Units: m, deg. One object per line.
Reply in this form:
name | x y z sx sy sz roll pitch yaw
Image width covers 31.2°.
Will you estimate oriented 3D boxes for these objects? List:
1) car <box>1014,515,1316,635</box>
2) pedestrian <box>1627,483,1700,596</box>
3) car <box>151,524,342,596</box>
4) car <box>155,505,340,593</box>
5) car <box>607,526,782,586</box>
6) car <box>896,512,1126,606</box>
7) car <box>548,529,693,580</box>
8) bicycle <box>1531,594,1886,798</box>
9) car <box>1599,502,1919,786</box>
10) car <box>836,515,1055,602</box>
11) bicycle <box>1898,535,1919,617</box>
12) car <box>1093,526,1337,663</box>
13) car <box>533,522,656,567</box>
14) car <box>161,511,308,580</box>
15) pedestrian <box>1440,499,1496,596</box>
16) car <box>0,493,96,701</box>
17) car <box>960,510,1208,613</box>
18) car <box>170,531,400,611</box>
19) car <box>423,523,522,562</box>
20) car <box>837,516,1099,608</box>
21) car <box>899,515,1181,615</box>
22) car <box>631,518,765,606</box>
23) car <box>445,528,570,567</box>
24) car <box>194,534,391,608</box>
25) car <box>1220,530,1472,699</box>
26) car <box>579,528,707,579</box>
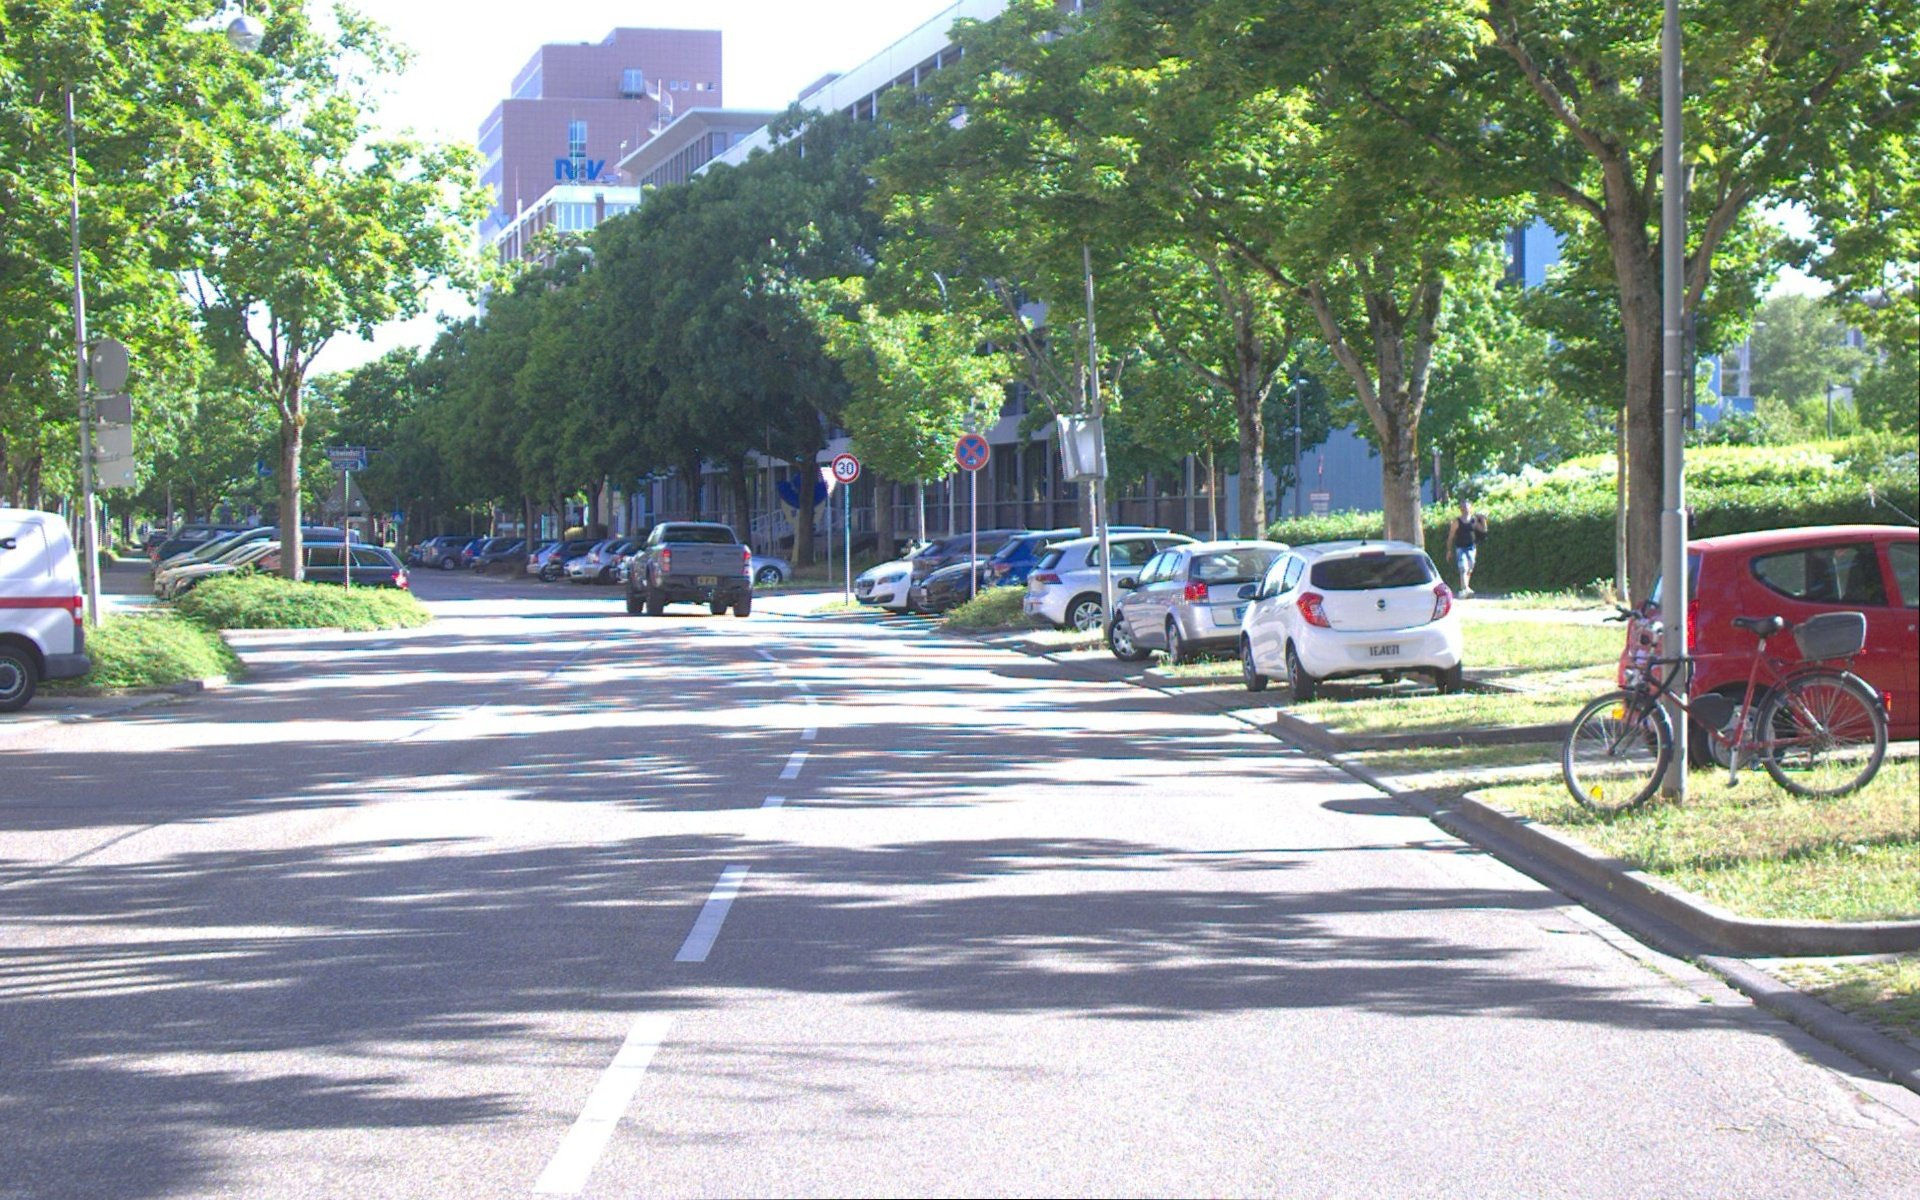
car | 2.970 -0.376 50.161 4.088 1.424 1.643 -4 1 -6
pedestrian | 9.974 -0.860 48.773 0.723 1.582 0.853 -1 1 -11
car | -15.133 -0.849 72.849 3.890 1.419 1.740 1 1 -13
car | -15.566 -1.119 75.071 3.890 1.805 1.786 1 1 -13
car | -7.358 -1.240 95.106 4.577 1.470 1.747 -2 2 -12
car | 0.927 -0.758 63.352 3.874 1.509 1.751 -3 1 -12
car | -11.065 -1.494 112.076 4.284 1.488 2.004 -2 2 -20
bicycle | 3.891 0.500 17.943 1.752 0.987 0.530 -2 1 11
car | 5.764 0.189 20.746 3.434 1.539 1.627 -4 1 0
car | -0.293 -0.826 68.377 3.947 1.509 1.702 -3 1 -19
bicycle | 10.488 -0.257 36.186 0.346 0.863 1.409 -2 1 -25
car | 3.039 -0.104 41.940 1.808 1.488 4.625 -3 2 -10
car | -12.669 -1.931 119.024 3.968 1.415 1.711 -2 1 -15
car | -23.031 -1.740 109.253 4.487 2.082 2.083 1 1 -11
pedestrian | 8.187 -0.846 55.432 0.606 1.537 0.937 -1 1 -11
car | -10.902 -0.048 32.781 4.756 1.978 2.000 0 2 -37
car | 2.087 -0.652 58.249 3.804 1.443 1.745 -4 1 -11
car | -12.917 -0.565 65.981 4.261 1.419 1.740 1 1 -9
car | -23.139 -2.737 163.147 4.350 1.698 1.813 -2 1 -16
car | 0.144 -0.729 65.806 4.548 1.509 1.983 -3 1 -19
car | 1.390 -0.624 60.841 4.548 1.509 2.159 -3 1 -12
car | -5.189 -0.754 67.620 1.993 1.634 4.001 1 1 -13
car | -18.551 -2.168 140.938 4.823 1.415 2.033 -2 1 -15
car | -13.682 -0.593 70.381 3.890 1.419 1.740 1 1 -13
car | 3.733 0.095 33.851 1.643 1.488 3.766 -3 1 -6
car | -10.119 -1.475 109.681 3.742 1.488 1.617 -2 2 -19
